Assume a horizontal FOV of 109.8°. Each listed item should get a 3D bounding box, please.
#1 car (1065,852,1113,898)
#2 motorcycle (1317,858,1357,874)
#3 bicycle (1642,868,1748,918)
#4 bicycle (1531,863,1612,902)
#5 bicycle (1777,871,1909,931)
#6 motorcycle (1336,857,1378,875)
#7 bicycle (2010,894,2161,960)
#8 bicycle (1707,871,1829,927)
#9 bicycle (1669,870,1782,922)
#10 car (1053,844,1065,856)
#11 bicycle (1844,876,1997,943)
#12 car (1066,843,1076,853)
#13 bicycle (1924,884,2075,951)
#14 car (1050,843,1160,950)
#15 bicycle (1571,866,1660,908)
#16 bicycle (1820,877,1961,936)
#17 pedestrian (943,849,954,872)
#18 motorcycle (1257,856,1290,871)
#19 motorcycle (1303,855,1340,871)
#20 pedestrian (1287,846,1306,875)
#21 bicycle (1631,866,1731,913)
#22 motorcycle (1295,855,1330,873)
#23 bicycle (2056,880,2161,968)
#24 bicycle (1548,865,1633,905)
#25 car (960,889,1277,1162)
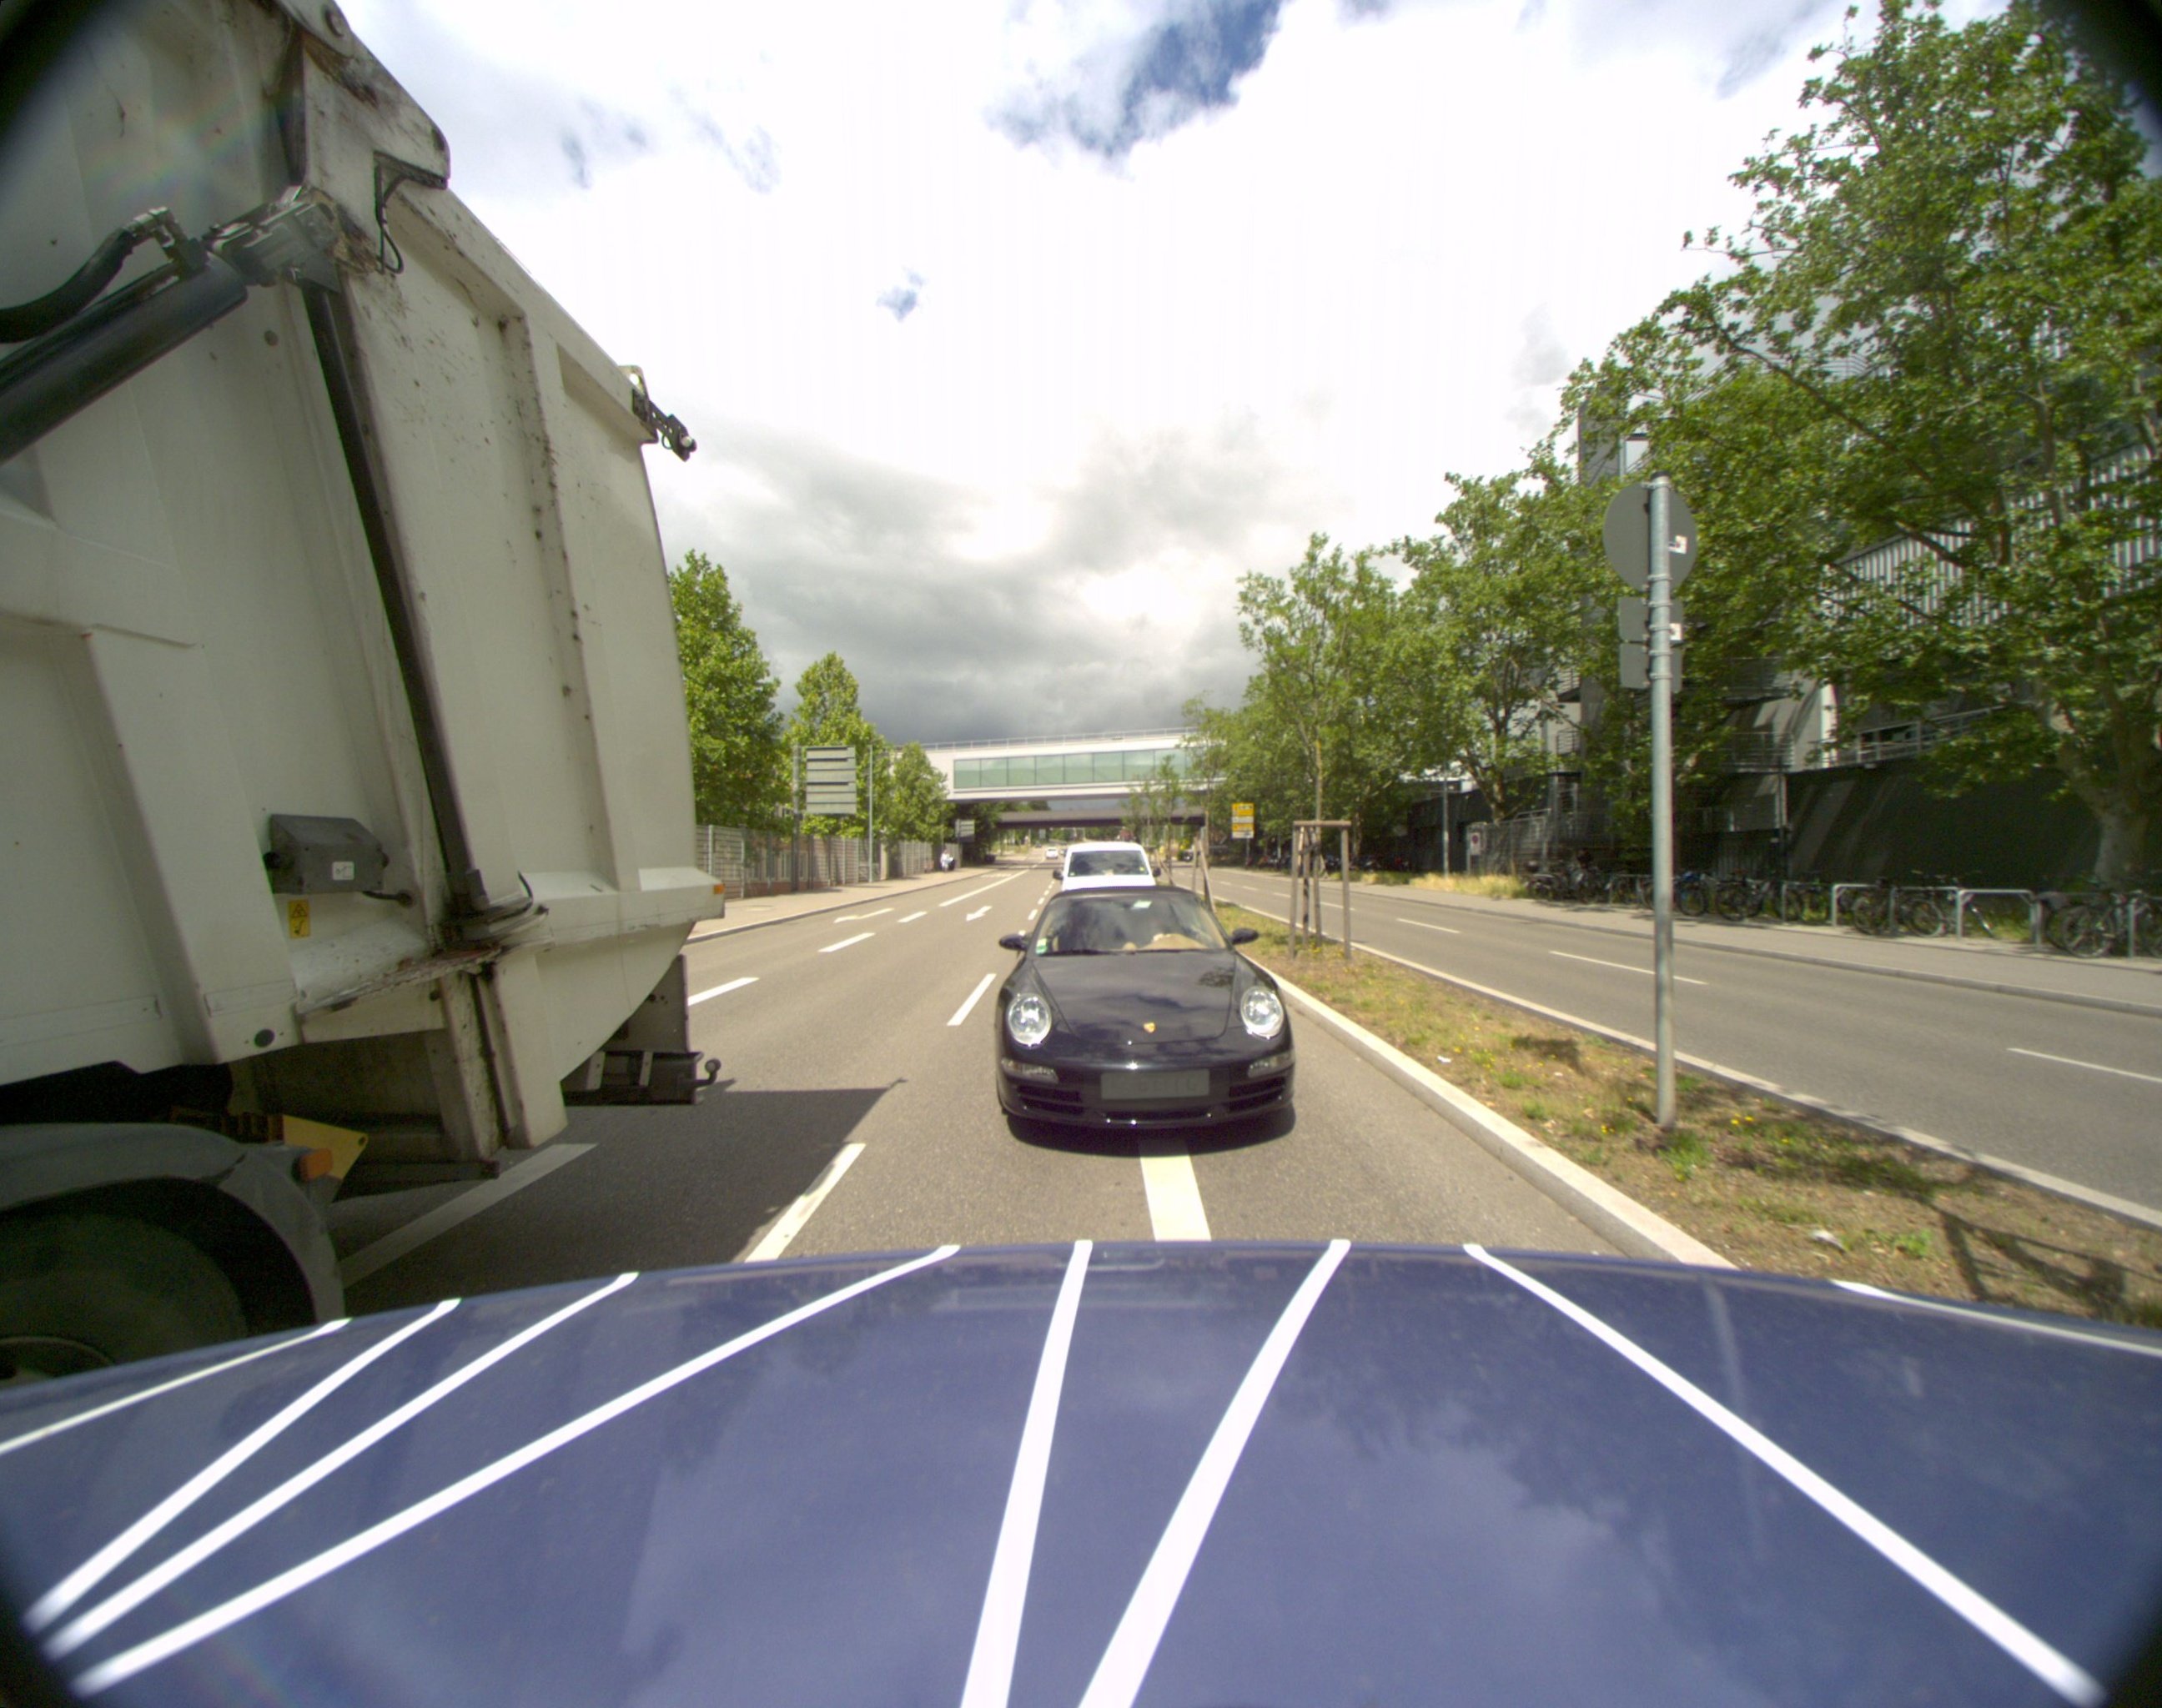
[{"bbox_3d":[0.285,0.763,29.758,1.747,1.647,3.545,-1,0,0],"label":"car"},{"bbox_3d":[14.944,0.699,44.428,2.133,0.880,0.534,-1,0,1],"label":"motorcycle"},{"bbox_3d":[14.497,0.922,17.960,2.129,1.104,0.382,-1,1,3],"label":"bicycle"},{"bbox_3d":[14.740,0.864,22.851,2.129,1.104,0.382,-1,1,3],"label":"bicycle"},{"bbox_3d":[15.034,0.924,15.010,2.129,1.104,0.382,-1,1,3],"label":"bicycle"},{"bbox_3d":[15.377,0.666,42.378,2.133,0.893,0.534,-1,0,1],"label":"motorcycle"},{"bbox_3d":[14.949,1.069,11.229,1.993,0.885,0.382,-1,1,-1],"label":"bicycle"},{"bbox_3d":[14.493,0.941,16.049,2.129,1.104,0.382,-1,1,3],"label":"bicycle"},{"bbox_3d":[14.472,0.930,17.073,2.129,1.104,0.382,-1,1,3],"label":"bicycle"},{"bbox_3d":[-3.846,-0.708,134.035,1.925,2.082,4.657,-1,0,2],"label":"car"},{"bbox_3d":[14.571,0.954,13.209,2.129,1.089,0.382,-1,1,3],"label":"bicycle"},{"bbox_3d":[-1.920,-1.104,147.604,1.862,1.800,4.357,-3,0,1],"label":"car"},{"bbox_3d":[14.745,1.011,12.208,1.993,0.992,0.382,-1,1,-1],"label":"bicycle"},{"bbox_3d":[0.445,0.733,15.586,1.862,1.800,4.906,-1,0,1],"label":"car"},{"bbox_3d":[14.814,0.913,21.087,2.129,1.104,0.382,-1,1,3],"label":"bicycle"},{"bbox_3d":[15.004,0.966,14.103,2.129,1.025,0.382,-1,1,3],"label":"bicycle"},{"bbox_3d":[-11.082,0.520,63.531,0.739,1.901,0.658,-2,1,-6],"label":"pedestrian"},{"bbox_3d":[13.144,0.659,51.844,2.133,0.963,0.534,-1,0,1],"label":"motorcycle"},{"bbox_3d":[15.088,0.541,47.757,2.133,0.963,0.534,-1,0,1],"label":"motorcycle"},{"bbox_3d":[12.831,0.377,45.267,0.900,1.710,0.673,-1,1,1],"label":"pedestrian"},{"bbox_3d":[15.057,0.893,19.075,2.129,1.104,0.382,-1,1,3],"label":"bicycle"},{"bbox_3d":[14.982,0.632,49.211,2.133,1.131,0.534,-1,0,1],"label":"motorcycle"},{"bbox_3d":[14.347,0.925,10.226,1.993,1.121,0.382,-1,1,-1],"label":"bicycle"},{"bbox_3d":[14.745,0.900,22.010,2.129,1.104,0.382,-1,1,3],"label":"bicycle"},{"bbox_3d":[0.232,1.032,6.073,1.710,1.280,3.806,-1,0,1],"label":"car"}]
